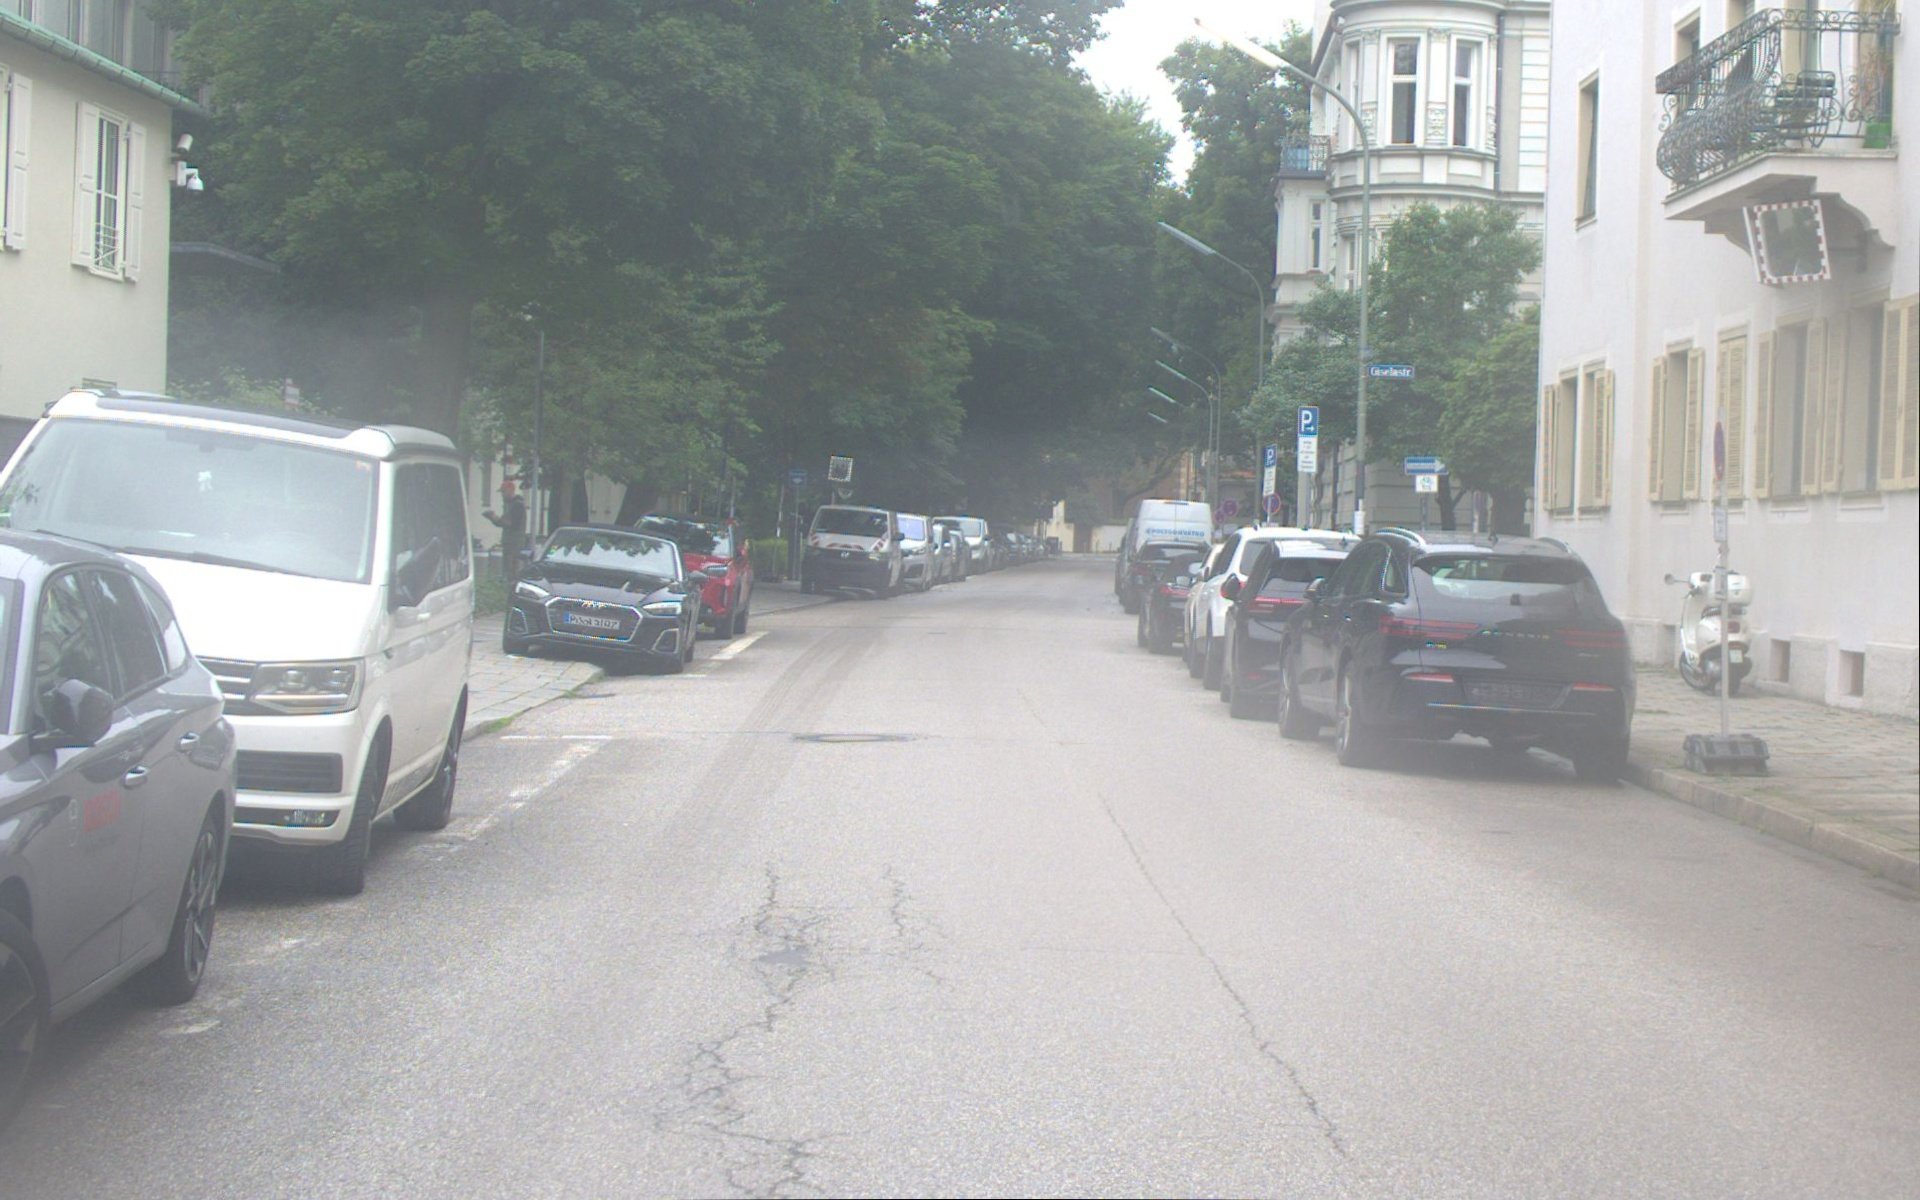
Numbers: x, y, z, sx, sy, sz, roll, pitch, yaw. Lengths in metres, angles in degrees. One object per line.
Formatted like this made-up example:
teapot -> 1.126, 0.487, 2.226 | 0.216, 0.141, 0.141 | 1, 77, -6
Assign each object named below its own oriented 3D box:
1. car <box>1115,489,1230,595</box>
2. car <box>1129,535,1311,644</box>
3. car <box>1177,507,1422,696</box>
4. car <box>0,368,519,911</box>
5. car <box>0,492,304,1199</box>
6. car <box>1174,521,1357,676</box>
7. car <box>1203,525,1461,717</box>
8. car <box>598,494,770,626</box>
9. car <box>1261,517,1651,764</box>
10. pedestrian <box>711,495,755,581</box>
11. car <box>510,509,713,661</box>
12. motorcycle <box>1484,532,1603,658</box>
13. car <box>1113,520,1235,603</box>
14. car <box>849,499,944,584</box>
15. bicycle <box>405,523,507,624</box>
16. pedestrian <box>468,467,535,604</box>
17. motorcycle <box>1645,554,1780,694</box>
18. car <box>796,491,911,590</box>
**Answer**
car -> 4.537, -1.240, 74.065 | 2.203, 2.200, 4.855 | 1, 1, 1
car -> 3.345, -0.174, 45.005 | 2.000, 1.314, 4.596 | -1, 1, 0
car -> 3.426, -0.041, 35.504 | 1.993, 1.701, 4.534 | 4, 1, 0
car -> -3.245, 0.082, 15.602 | 1.966, 1.983, 5.152 | 3, 1, -3
car -> -3.116, 0.459, 9.634 | 1.887, 1.538, 4.697 | 2, 1, -4
car -> 3.516, -0.055, 40.126 | 1.771, 1.540, 3.711 | 6, 1, 2
car -> 3.184, 0.121, 30.204 | 1.838, 1.526, 4.415 | 1, 1, 1
car -> -3.647, -0.561, 46.112 | 1.887, 1.585, 4.528 | 3, 1, 0
car -> 3.437, 0.207, 24.765 | 1.860, 1.571, 4.900 | 1, 1, -3
pedestrian -> -4.225, -1.156, 64.008 | 0.713, 1.543, 0.753 | 4, 1, -3
car -> -3.610, -0.206, 36.380 | 1.807, 1.397, 4.925 | 3, 1, -3
motorcycle -> 6.975, -0.082, 41.228 | 0.857, 1.428, 2.707 | 2, 1, -2
car -> 4.214, -0.755, 67.115 | 2.273, 1.541, 4.586 | 1, 1, 4
car -> -1.553, -1.467, 85.946 | 2.183, 1.950, 5.167 | 3, 1, 0
bicycle -> -5.859, -0.326, 40.051 | 0.649, 1.126, 2.047 | 2, 1, 7
pedestrian -> -6.321, -0.886, 47.453 | 0.712, 1.846, 0.797 | 3, 1, 1
motorcycle -> 7.080, 0.205, 32.439 | 0.732, 1.235, 2.008 | 3, 1, -1
car -> -2.254, -1.297, 74.246 | 2.247, 1.950, 5.454 | 3, 1, 0
